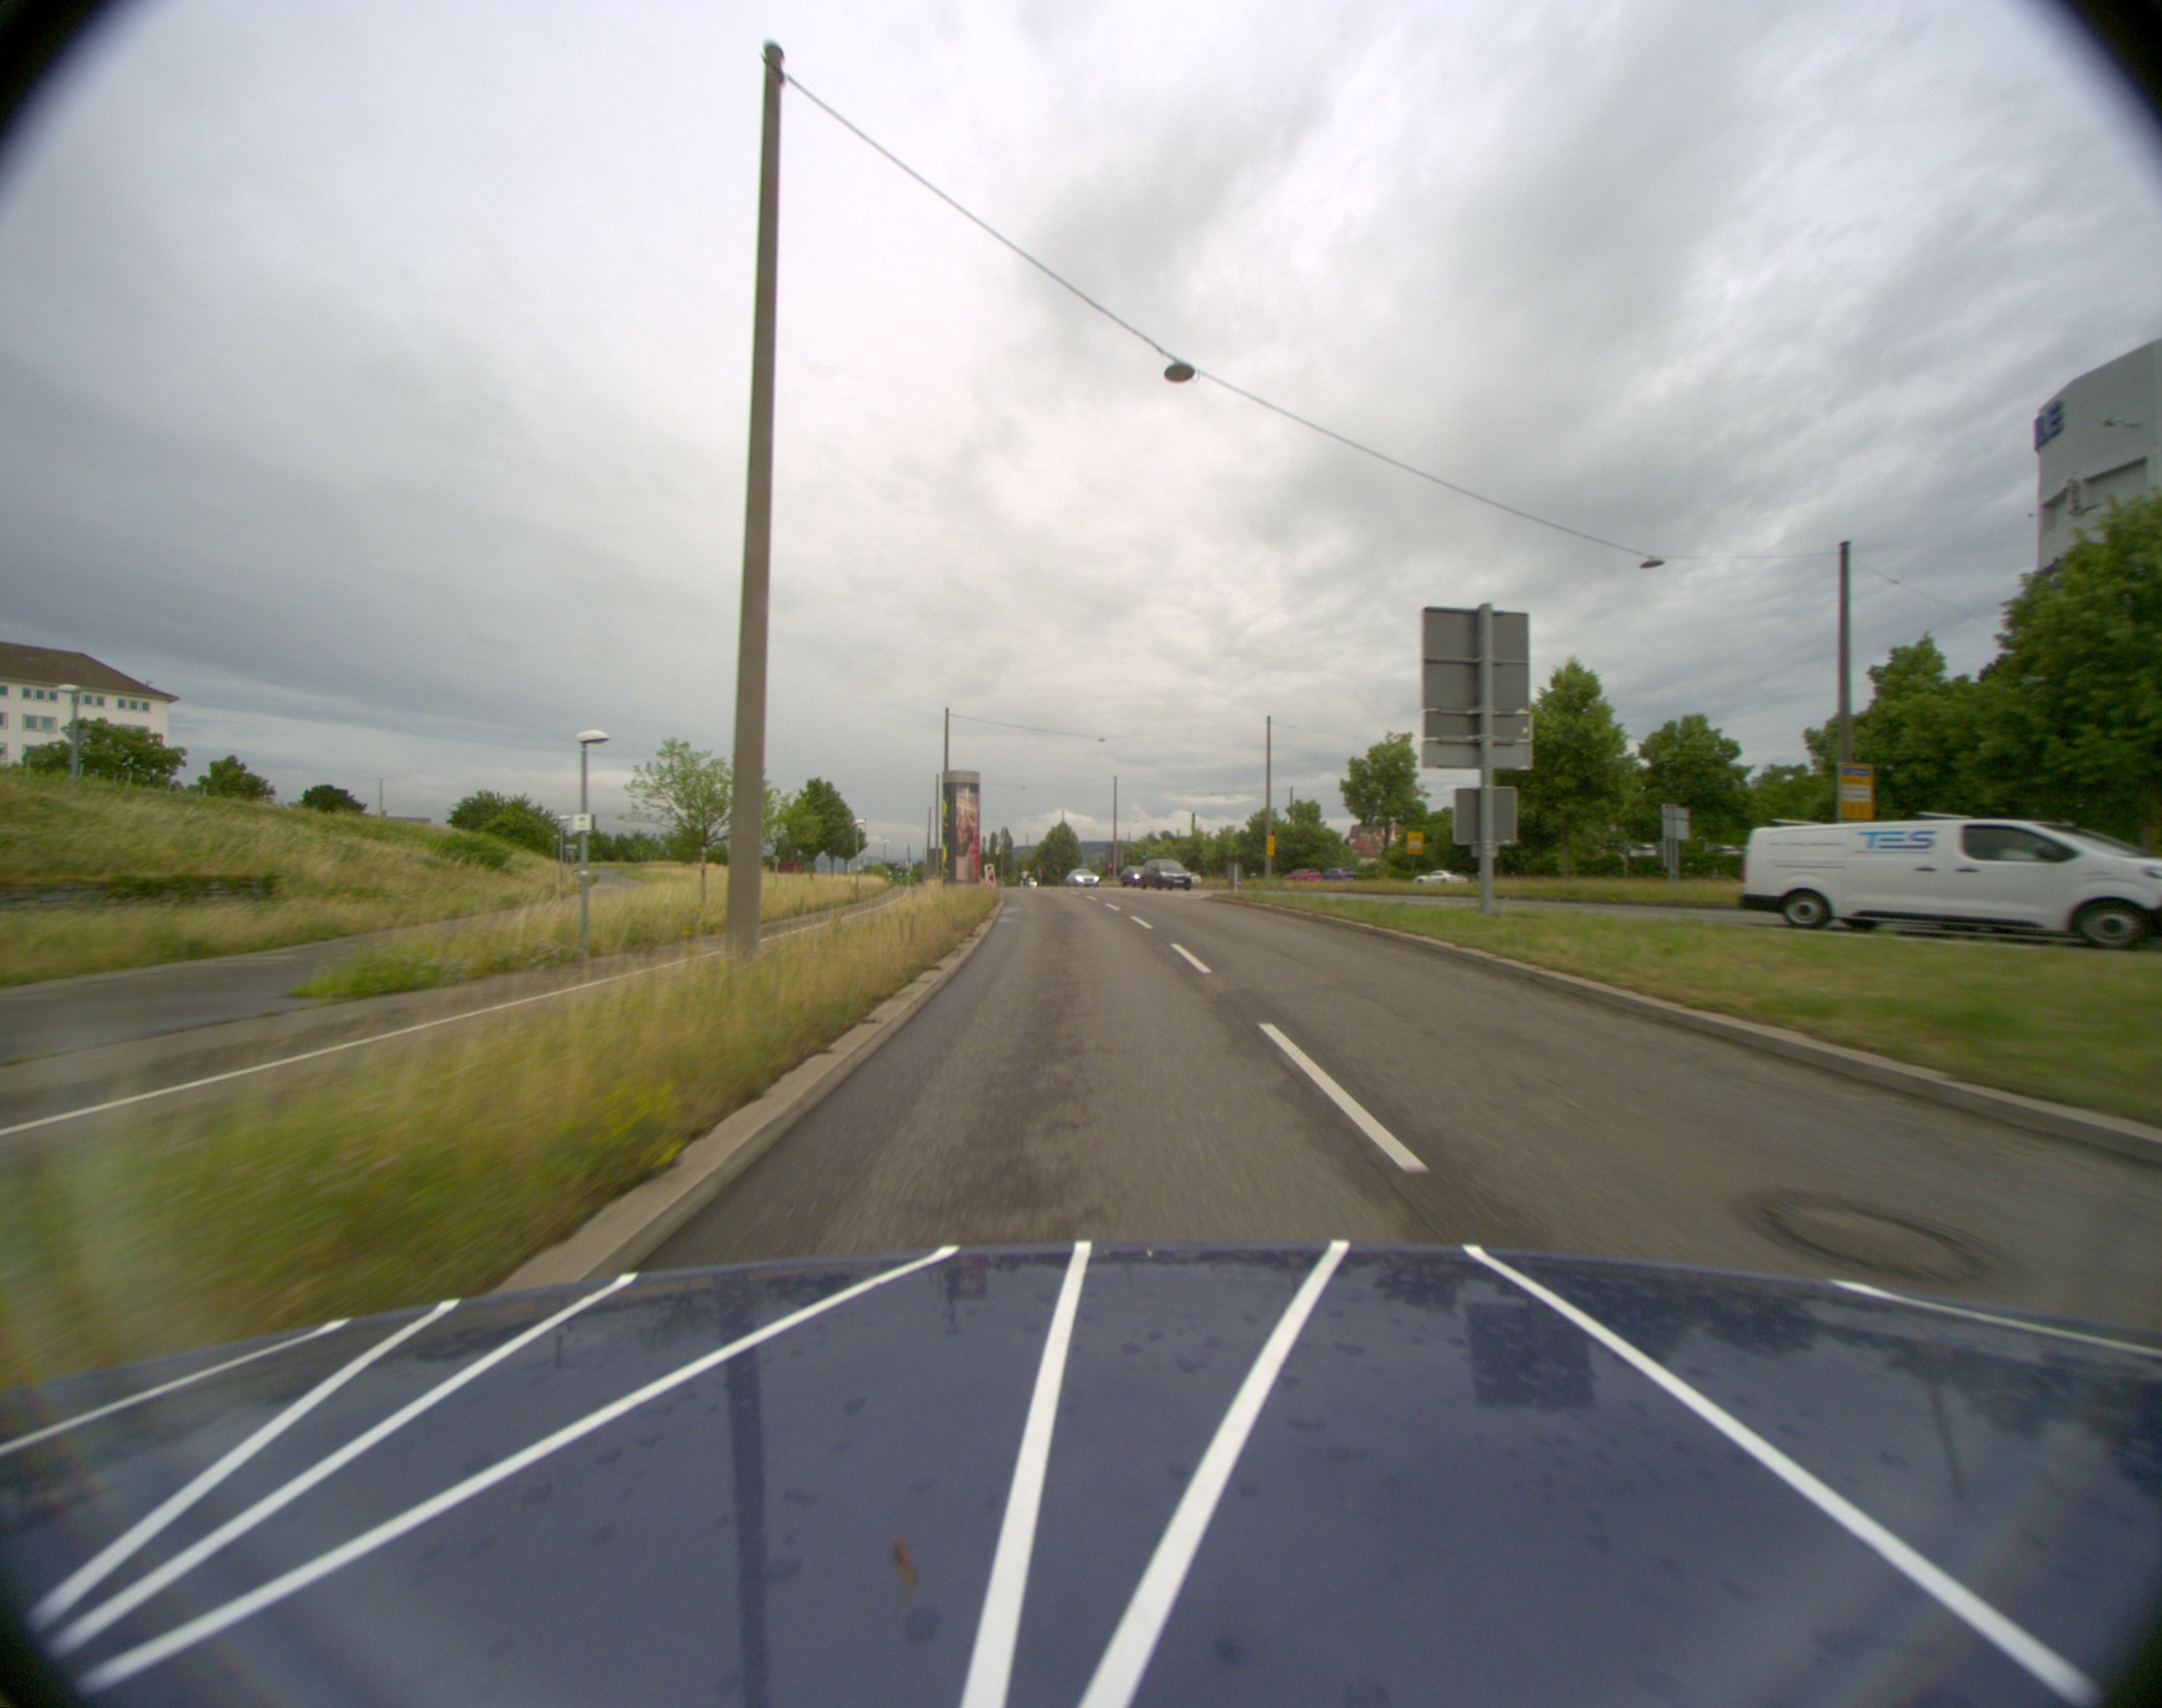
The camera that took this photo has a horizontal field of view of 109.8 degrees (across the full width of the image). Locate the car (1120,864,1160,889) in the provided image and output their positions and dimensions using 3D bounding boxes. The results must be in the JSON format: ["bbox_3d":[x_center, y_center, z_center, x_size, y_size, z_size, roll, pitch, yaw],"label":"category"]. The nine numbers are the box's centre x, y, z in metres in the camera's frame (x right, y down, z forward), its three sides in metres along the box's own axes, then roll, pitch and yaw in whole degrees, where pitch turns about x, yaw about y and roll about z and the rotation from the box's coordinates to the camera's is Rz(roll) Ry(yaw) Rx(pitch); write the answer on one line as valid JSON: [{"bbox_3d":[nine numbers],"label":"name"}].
[{"bbox_3d":[4.544,1.786,59.195,2.001,1.849,3.998,0,-3,-13],"label":"car"}]

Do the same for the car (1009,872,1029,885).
[{"bbox_3d":[-8.730,3.507,106.711,2.001,1.632,4.625,-2,-3,-15],"label":"car"}]

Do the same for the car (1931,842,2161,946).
[{"bbox_3d":[16.936,0.626,12.198,1.913,1.554,3.991,2,-1,-25],"label":"car"}]

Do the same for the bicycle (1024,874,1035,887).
[{"bbox_3d":[-4.428,2.248,65.078,0.635,1.098,1.752,0,-2,-14],"label":"bicycle"}]

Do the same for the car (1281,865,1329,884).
[{"bbox_3d":[19.259,1.746,65.448,1.917,1.522,3.993,0,-1,-22],"label":"car"}]

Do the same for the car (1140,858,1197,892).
[{"bbox_3d":[4.430,1.071,39.153,1.802,1.556,4.040,-2,-1,-10],"label":"car"}]

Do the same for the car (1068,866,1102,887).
[{"bbox_3d":[0.269,1.808,59.888,2.000,1.399,4.524,-2,-3,-8],"label":"car"}]

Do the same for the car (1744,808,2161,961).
[{"bbox_3d":[14.017,0.421,11.969,1.912,1.961,5.084,1,-1,-19],"label":"car"}]

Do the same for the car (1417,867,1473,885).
[{"bbox_3d":[28.213,1.700,59.053,1.667,1.383,3.976,0,-1,-17],"label":"car"}]

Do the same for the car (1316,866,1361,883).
[{"bbox_3d":[22.706,1.798,67.120,1.884,1.433,3.976,0,-1,-16],"label":"car"}]

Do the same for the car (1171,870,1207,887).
[{"bbox_3d":[11.856,2.662,83.829,2.001,1.760,4.865,-1,-1,-17],"label":"car"}]

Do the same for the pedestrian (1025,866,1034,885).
[{"bbox_3d":[-4.383,1.811,64.861,0.635,1.560,0.895,0,-4,-14],"label":"pedestrian"}]

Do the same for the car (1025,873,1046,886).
[{"bbox_3d":[-6.484,3.675,107.301,2.001,1.632,4.625,-2,-3,-15],"label":"car"}]

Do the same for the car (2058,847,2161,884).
[{"bbox_3d":[64.046,0.675,45.141,2.393,2.118,6.988,-1,0,-19],"label":"car"}]
